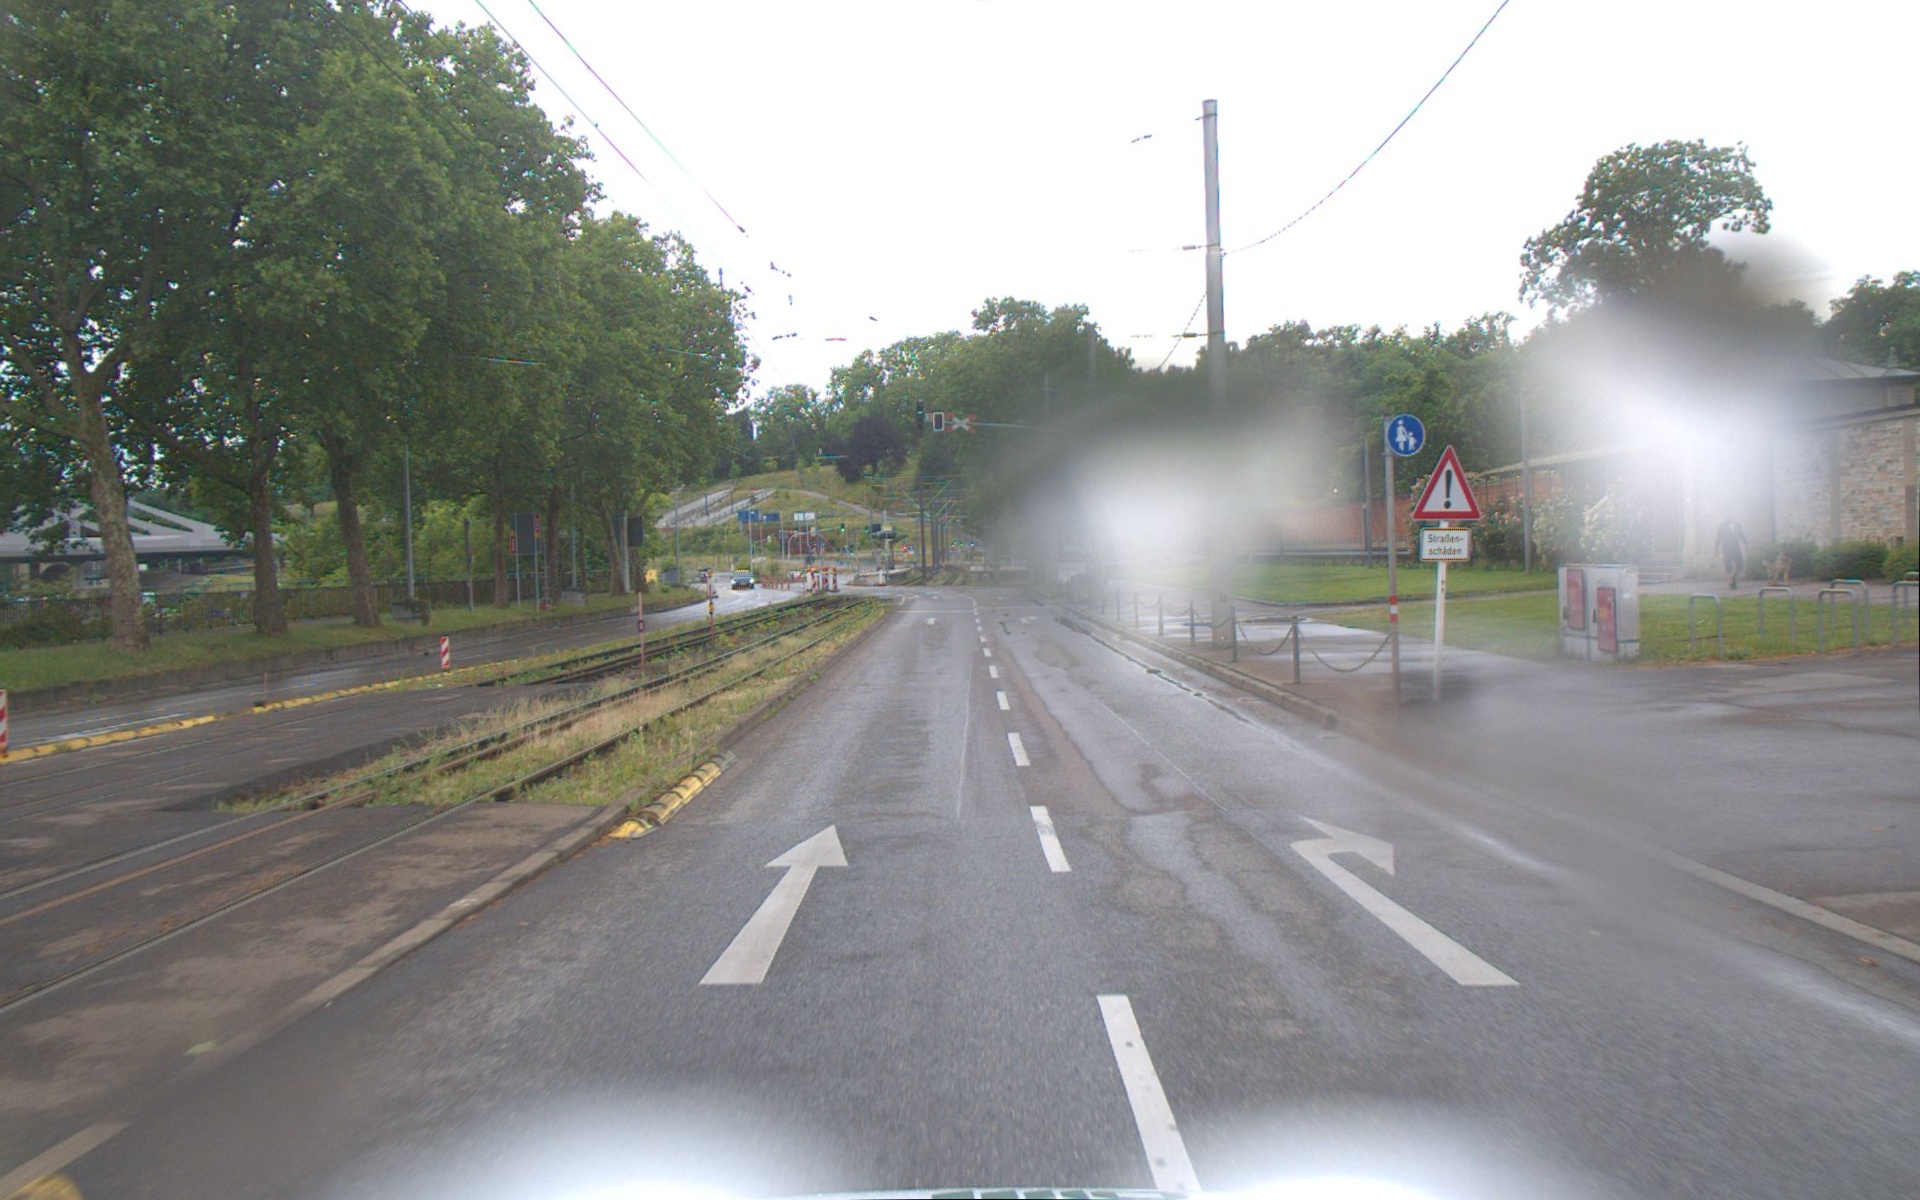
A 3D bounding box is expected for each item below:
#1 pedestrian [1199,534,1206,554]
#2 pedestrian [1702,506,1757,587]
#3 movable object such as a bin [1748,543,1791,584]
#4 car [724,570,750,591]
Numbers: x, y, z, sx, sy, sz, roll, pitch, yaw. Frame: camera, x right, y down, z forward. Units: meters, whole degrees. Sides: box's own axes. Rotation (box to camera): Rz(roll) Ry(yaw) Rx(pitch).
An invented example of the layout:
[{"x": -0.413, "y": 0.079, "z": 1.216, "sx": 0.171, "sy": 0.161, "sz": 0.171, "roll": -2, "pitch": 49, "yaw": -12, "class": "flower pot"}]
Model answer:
[{"x": 21.003, "y": -4.851, "z": 143.329, "sx": 0.520, "sy": 1.740, "sz": 0.696, "roll": 0, "pitch": 0, "yaw": 12, "class": "pedestrian"}, {"x": 17.195, "y": -1.193, "z": 36.964, "sx": 0.713, "sy": 1.740, "sz": 0.981, "roll": -3, "pitch": 1, "yaw": 1, "class": "pedestrian"}, {"x": 17.775, "y": -0.801, "z": 36.340, "sx": 0.335, "sy": 0.887, "sz": 1.192, "roll": -3, "pitch": 1, "yaw": 1, "class": "movable object such as a bin"}, {"x": -17.683, "y": -1.552, "z": 130.833, "sx": 1.715, "sy": 1.454, "sz": 4.549, "roll": -4, "pitch": 1, "yaw": -11, "class": "car"}]
